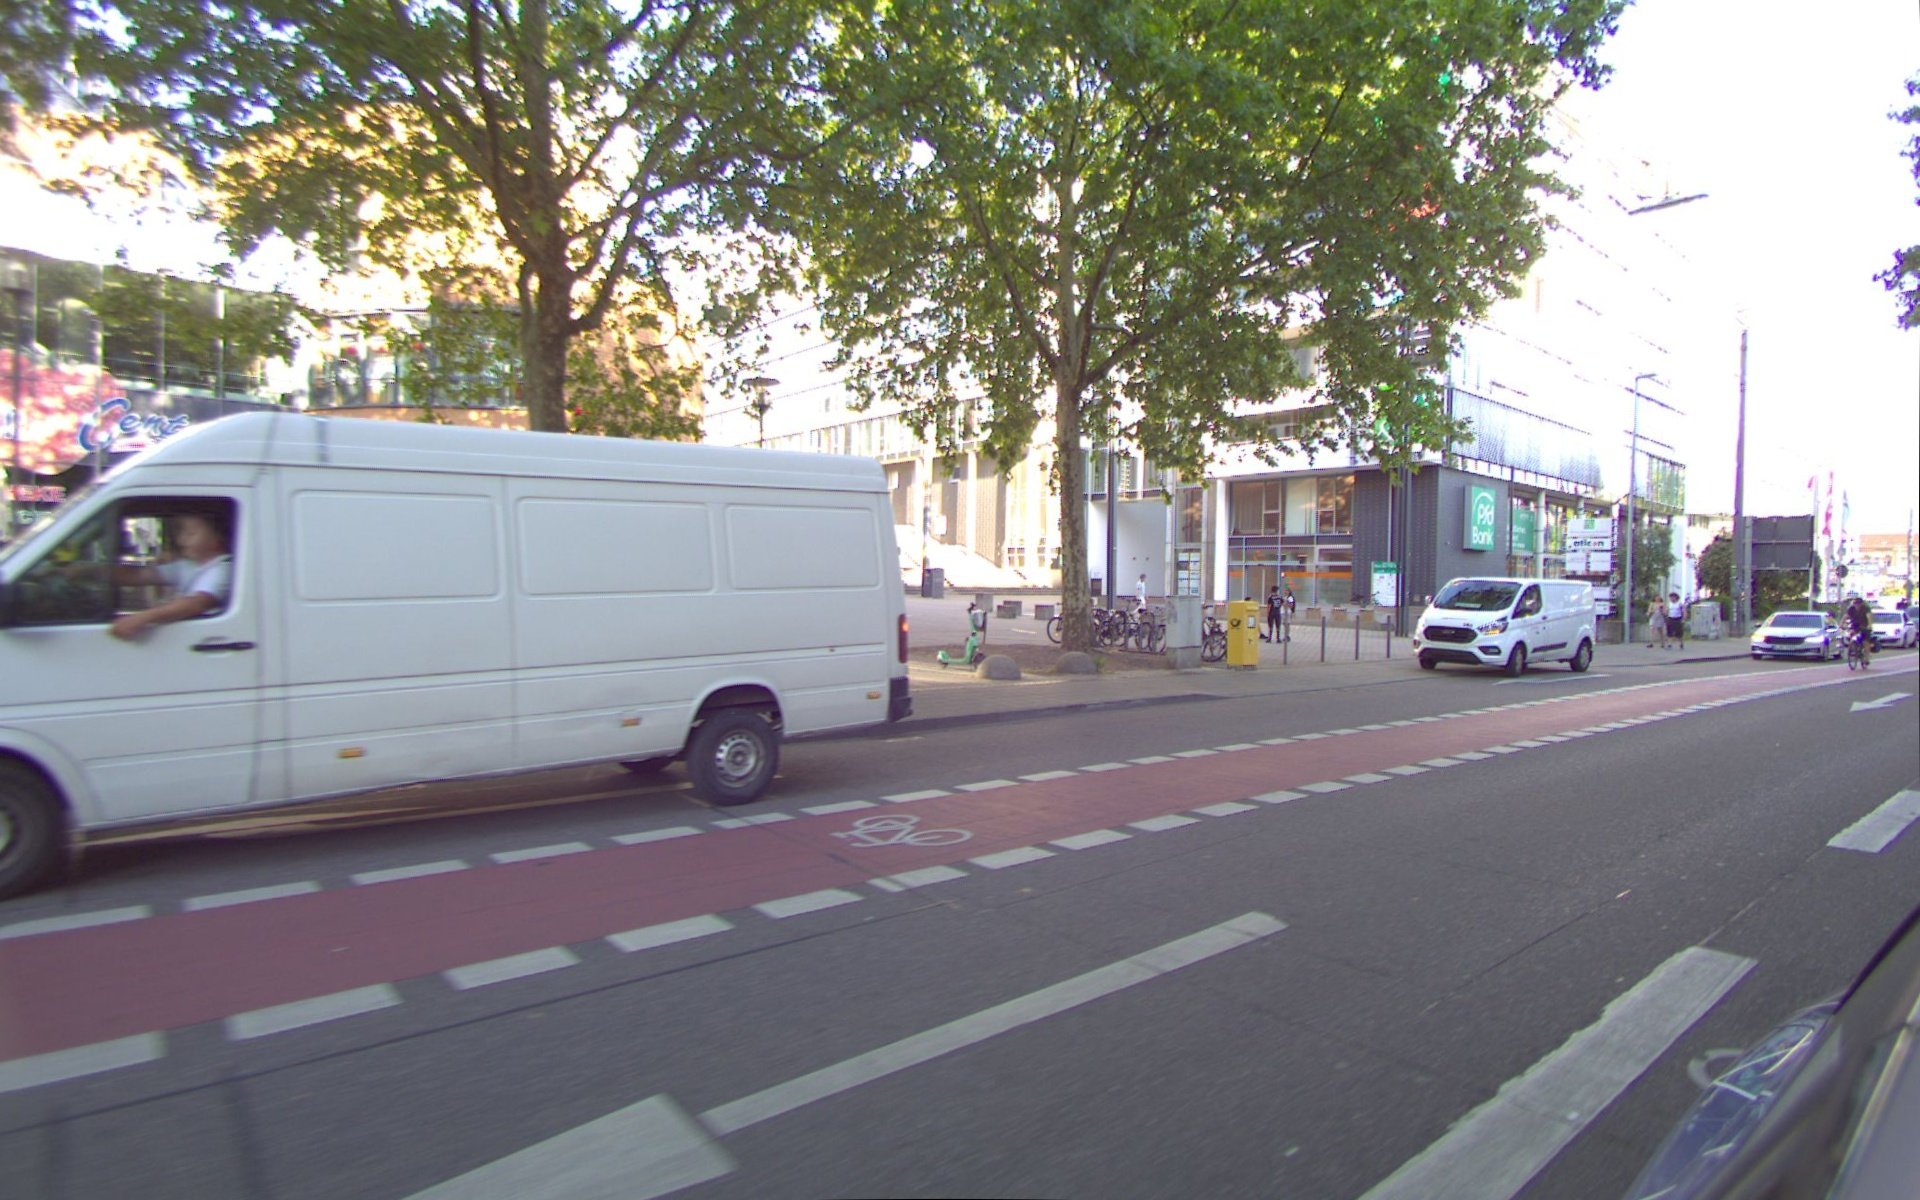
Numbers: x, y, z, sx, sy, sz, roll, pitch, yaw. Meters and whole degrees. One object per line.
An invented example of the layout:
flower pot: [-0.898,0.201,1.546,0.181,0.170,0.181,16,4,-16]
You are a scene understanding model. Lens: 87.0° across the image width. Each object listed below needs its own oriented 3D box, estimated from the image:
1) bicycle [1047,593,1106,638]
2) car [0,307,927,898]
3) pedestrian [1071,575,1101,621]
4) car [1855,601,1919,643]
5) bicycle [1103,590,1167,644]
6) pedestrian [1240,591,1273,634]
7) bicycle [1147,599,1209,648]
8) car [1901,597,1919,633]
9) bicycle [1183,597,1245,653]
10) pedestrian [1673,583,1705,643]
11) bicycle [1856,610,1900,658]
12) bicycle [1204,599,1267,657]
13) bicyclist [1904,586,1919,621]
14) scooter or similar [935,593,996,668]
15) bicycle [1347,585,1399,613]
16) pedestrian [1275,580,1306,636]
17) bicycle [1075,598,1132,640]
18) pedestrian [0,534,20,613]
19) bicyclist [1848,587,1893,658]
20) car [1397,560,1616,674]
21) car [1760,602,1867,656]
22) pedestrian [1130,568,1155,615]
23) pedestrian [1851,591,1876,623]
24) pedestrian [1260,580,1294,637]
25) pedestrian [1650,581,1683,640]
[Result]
bicycle: [2.923,0.378,25.364,1.480,1.091,0.461,1,1,-31]
car: [-3.378,0.008,6.923,6.443,2.759,1.998,0,0,-39]
pedestrian: [4.125,-0.076,33.154,0.590,1.474,0.712,1,1,-39]
car: [35.660,0.797,38.490,3.797,1.482,1.672,0,2,-37]
bicycle: [4.062,0.380,23.405,1.688,1.193,0.460,0,1,-41]
pedestrian: [8.589,0.355,29.327,0.664,1.236,0.615,1,1,-36]
bicycle: [4.842,0.497,22.447,1.599,1.042,0.460,0,1,-41]
car: [44.944,0.675,46.503,3.929,1.616,1.998,0,1,-40]
bicycle: [5.517,0.520,21.965,1.512,1.173,0.513,0,1,-41]
pedestrian: [22.761,0.389,31.607,0.875,1.831,0.564,0,2,-40]
bicycle: [22.945,0.827,25.286,2.089,1.135,0.550,0,1,-41]
bicycle: [5.821,0.581,21.375,1.512,1.173,0.513,0,1,-41]
bicyclist: [50.789,0.206,53.685,1.187,1.783,0.744,0,4,-39]
scooter or similar: [0.082,0.523,17.799,0.403,1.239,1.212,1,1,-36]
bicycle: [17.009,-0.042,41.721,0.688,1.076,1.878,0,2,-40]
pedestrian: [9.333,0.221,28.617,0.623,1.541,0.517,1,1,-33]
bicycle: [3.407,0.439,23.992,1.484,0.971,0.460,0,1,-41]
pedestrian: [-22.931,-0.635,23.808,0.834,1.867,1.002,1,1,-17]
bicyclist: [22.788,0.552,25.336,0.703,1.709,0.751,0,1,-44]
car: [11.732,0.298,21.597,5.191,2.160,2.129,0,2,-37]
car: [25.498,0.803,30.188,3.950,1.437,1.785,0,2,-40]
pedestrian: [6.792,-0.319,37.612,0.710,1.697,0.539,1,1,-40]
pedestrian: [46.408,0.362,51.974,0.895,1.594,0.753,0,1,-37]
pedestrian: [8.805,0.230,28.104,0.625,1.562,0.579,1,1,-33]
pedestrian: [22.424,0.321,32.133,0.880,1.831,0.591,0,2,-39]
